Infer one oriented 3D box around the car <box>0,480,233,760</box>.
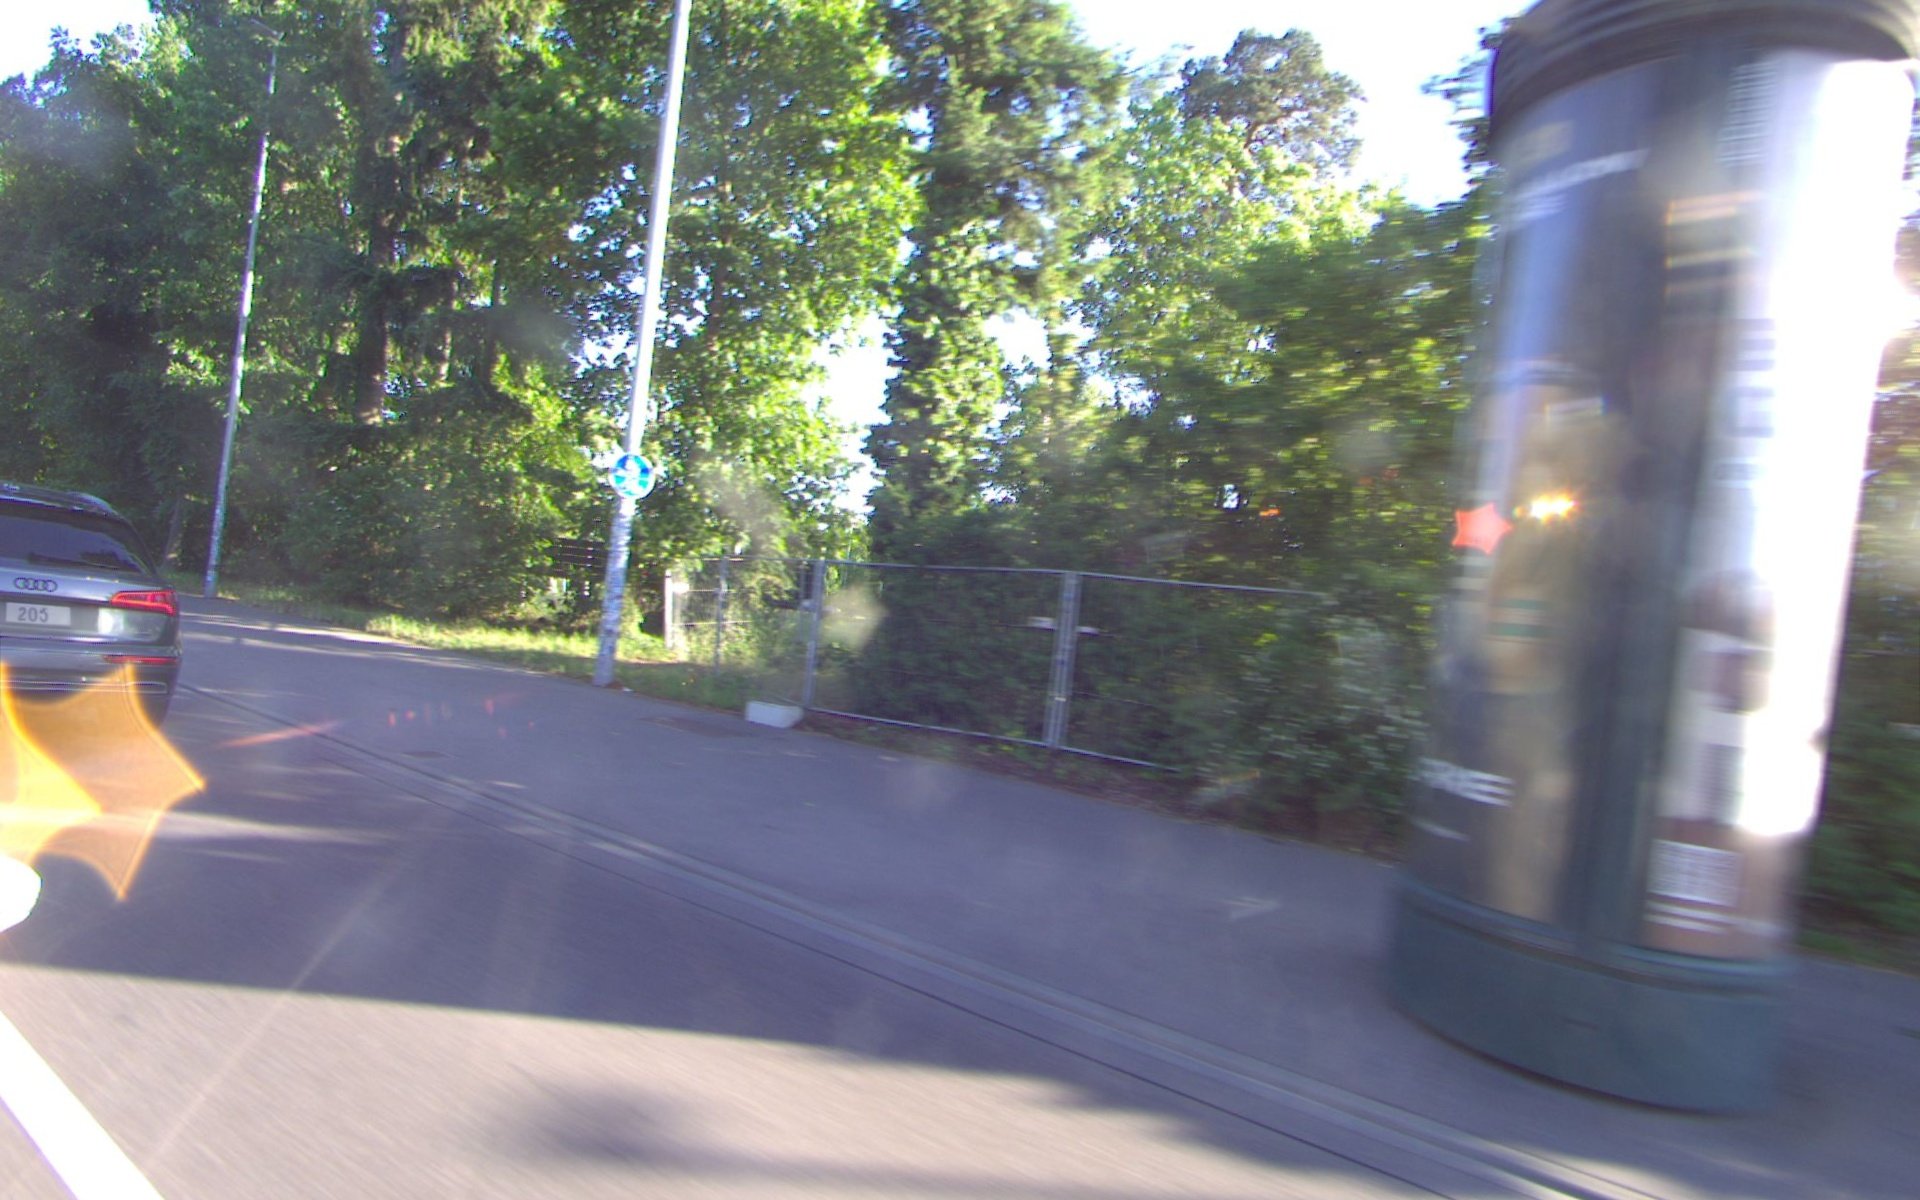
[{"bbox_3d":[-7.340,-0.044,7.225,4.472,1.623,1.896,6,-3,34],"label":"car"}]
